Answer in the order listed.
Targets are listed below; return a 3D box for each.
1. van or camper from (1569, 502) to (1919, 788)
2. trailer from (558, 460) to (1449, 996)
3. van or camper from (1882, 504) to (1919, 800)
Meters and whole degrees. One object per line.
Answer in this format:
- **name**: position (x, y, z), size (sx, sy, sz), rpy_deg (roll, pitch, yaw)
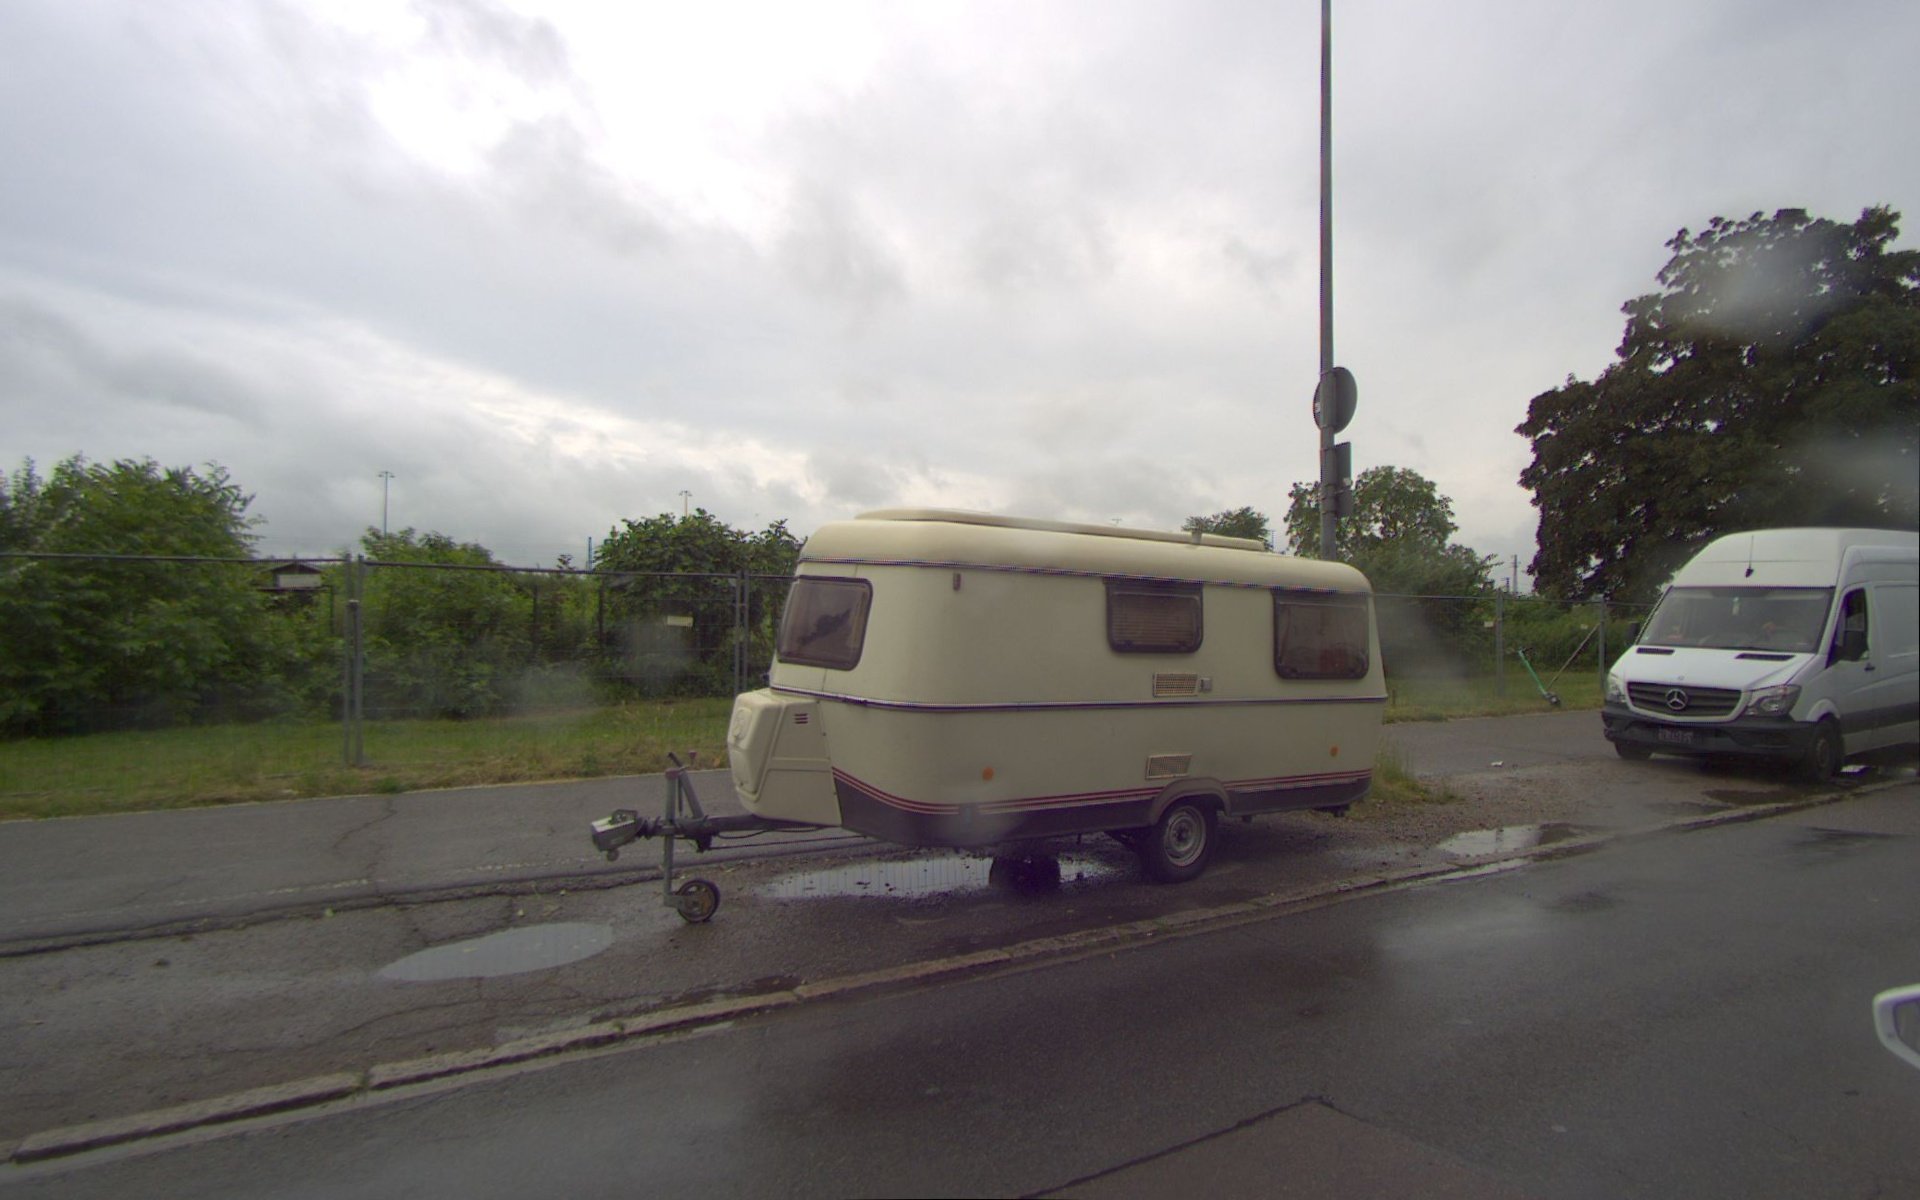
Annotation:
- **van or camper**: position (10.879, 0.512, 12.682), size (7.806, 2.799, 1.984), rpy_deg (1, 0, -31)
- **trailer**: position (0.582, 0.571, 6.616), size (5.730, 2.247, 2.047), rpy_deg (1, 0, -32)
- **van or camper**: position (11.648, 0.473, 9.704), size (7.093, 2.530, 1.985), rpy_deg (1, -2, -30)
